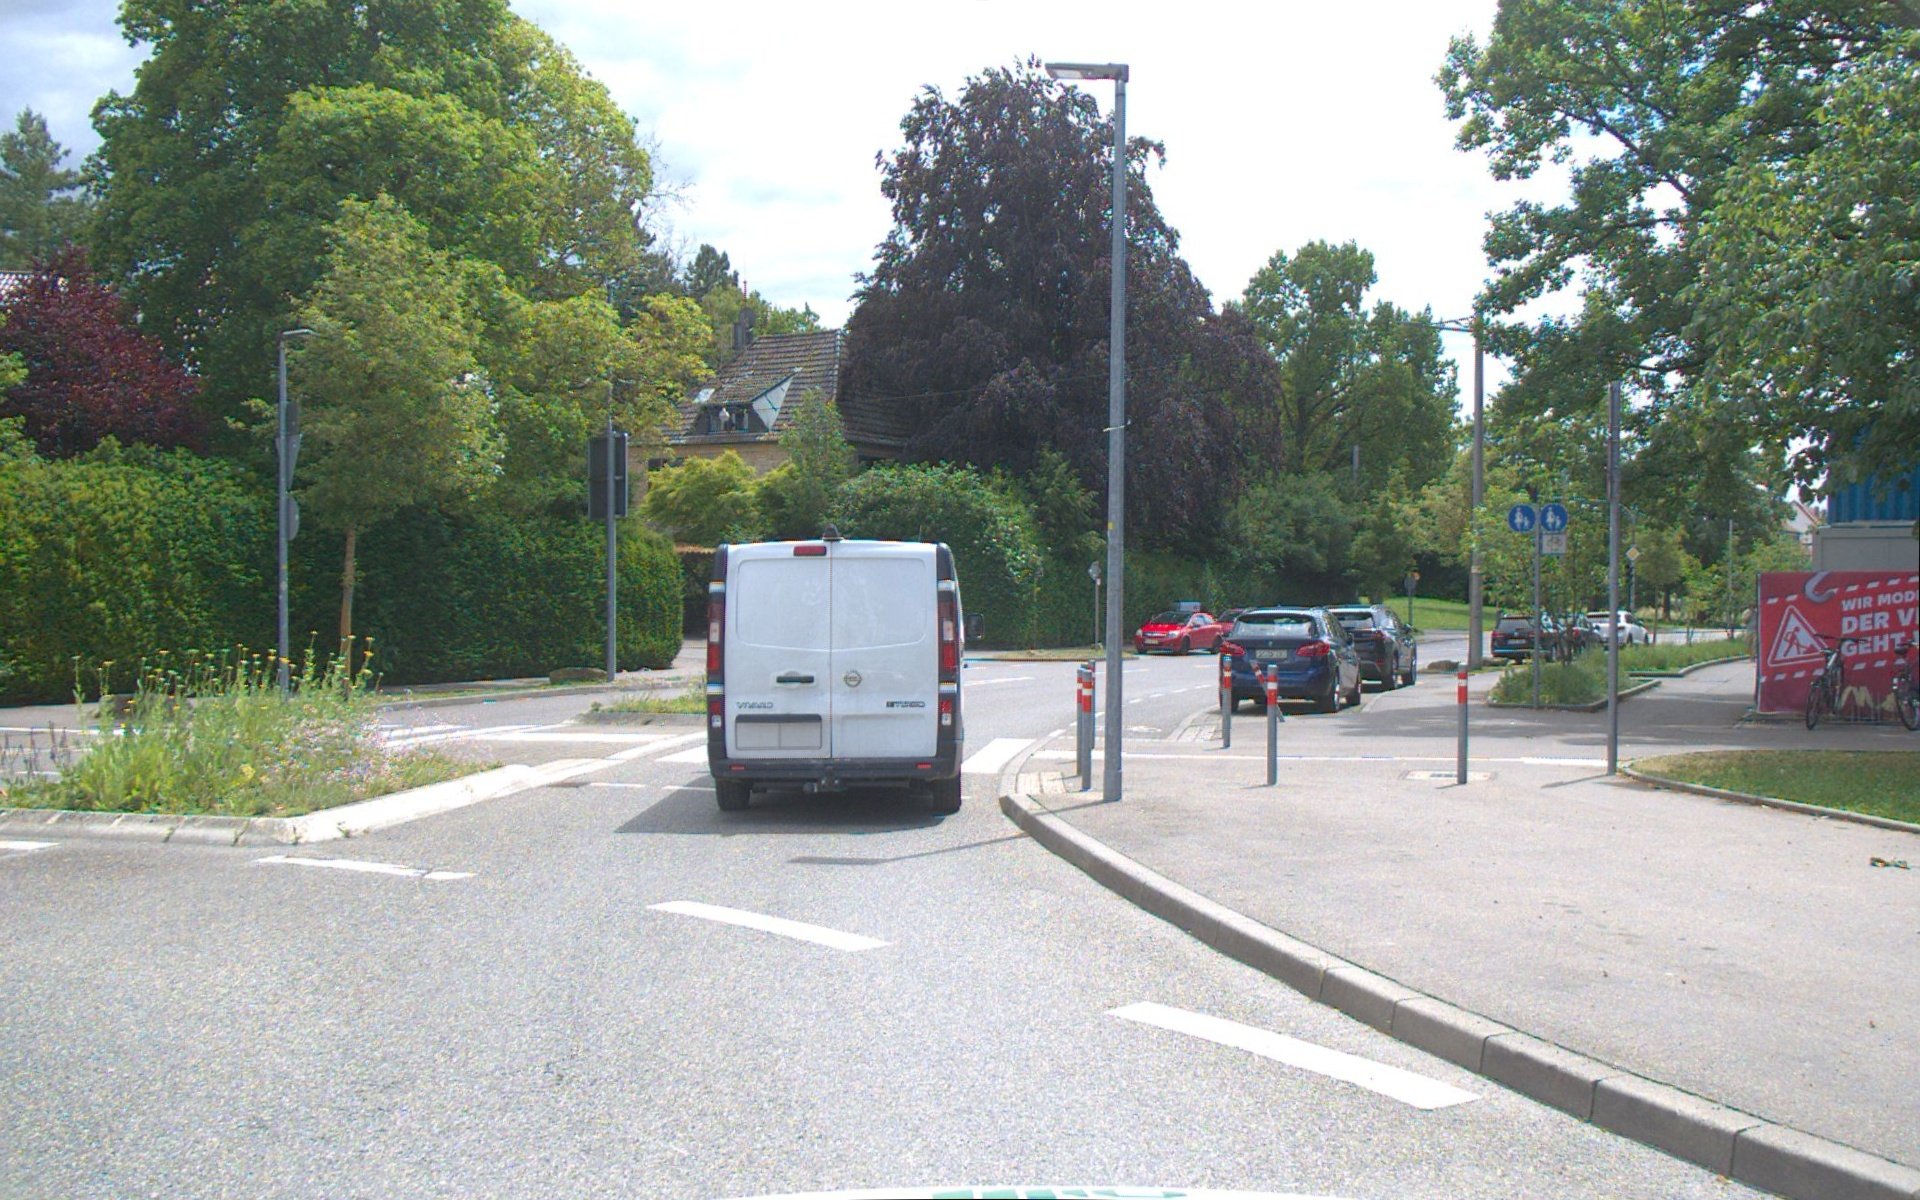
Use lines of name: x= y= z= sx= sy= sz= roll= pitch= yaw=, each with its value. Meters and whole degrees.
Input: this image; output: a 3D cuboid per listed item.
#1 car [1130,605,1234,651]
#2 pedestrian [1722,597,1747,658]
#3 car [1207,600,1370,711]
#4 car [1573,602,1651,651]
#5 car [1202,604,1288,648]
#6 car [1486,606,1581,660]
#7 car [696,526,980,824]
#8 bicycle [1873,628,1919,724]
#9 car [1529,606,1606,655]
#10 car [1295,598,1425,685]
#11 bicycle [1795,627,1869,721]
car: x=7.472 y=0.917 z=55.353 sx=1.631 sy=1.402 sz=4.553 roll=2 pitch=1 yaw=33
pedestrian: x=22.491 y=0.797 z=48.013 sx=0.638 sy=1.726 sz=0.724 roll=1 pitch=0 yaw=26
car: x=5.324 y=0.833 z=26.365 sx=1.877 sy=1.606 sz=4.430 roll=-1 pitch=-1 yaw=20
car: x=23.204 y=0.950 z=58.785 sx=1.706 sy=1.645 sz=4.374 roll=-2 pitch=-2 yaw=33
car: x=10.329 y=0.917 z=59.806 sx=1.620 sy=1.476 sz=4.094 roll=2 pitch=1 yaw=32
car: x=17.349 y=0.976 z=49.925 sx=1.732 sy=1.503 sz=4.925 roll=-3 pitch=-2 yaw=30
car: x=-0.829 y=0.539 z=13.637 sx=1.899 sy=1.995 sz=4.832 roll=1 pitch=-1 yaw=0
bicycle: x=12.365 y=0.957 z=21.376 sx=1.759 sy=1.175 sz=0.493 roll=1 pitch=0 yaw=-44
car: x=19.950 y=0.982 z=54.215 sx=1.540 sy=1.519 sz=3.988 roll=-1 pitch=-1 yaw=33
car: x=8.275 y=0.811 z=33.916 sx=1.840 sy=1.650 sz=4.845 roll=-1 pitch=-1 yaw=23
bicycle: x=11.470 y=0.945 z=21.736 sx=0.443 sy=1.175 sz=1.780 roll=1 pitch=0 yaw=42
